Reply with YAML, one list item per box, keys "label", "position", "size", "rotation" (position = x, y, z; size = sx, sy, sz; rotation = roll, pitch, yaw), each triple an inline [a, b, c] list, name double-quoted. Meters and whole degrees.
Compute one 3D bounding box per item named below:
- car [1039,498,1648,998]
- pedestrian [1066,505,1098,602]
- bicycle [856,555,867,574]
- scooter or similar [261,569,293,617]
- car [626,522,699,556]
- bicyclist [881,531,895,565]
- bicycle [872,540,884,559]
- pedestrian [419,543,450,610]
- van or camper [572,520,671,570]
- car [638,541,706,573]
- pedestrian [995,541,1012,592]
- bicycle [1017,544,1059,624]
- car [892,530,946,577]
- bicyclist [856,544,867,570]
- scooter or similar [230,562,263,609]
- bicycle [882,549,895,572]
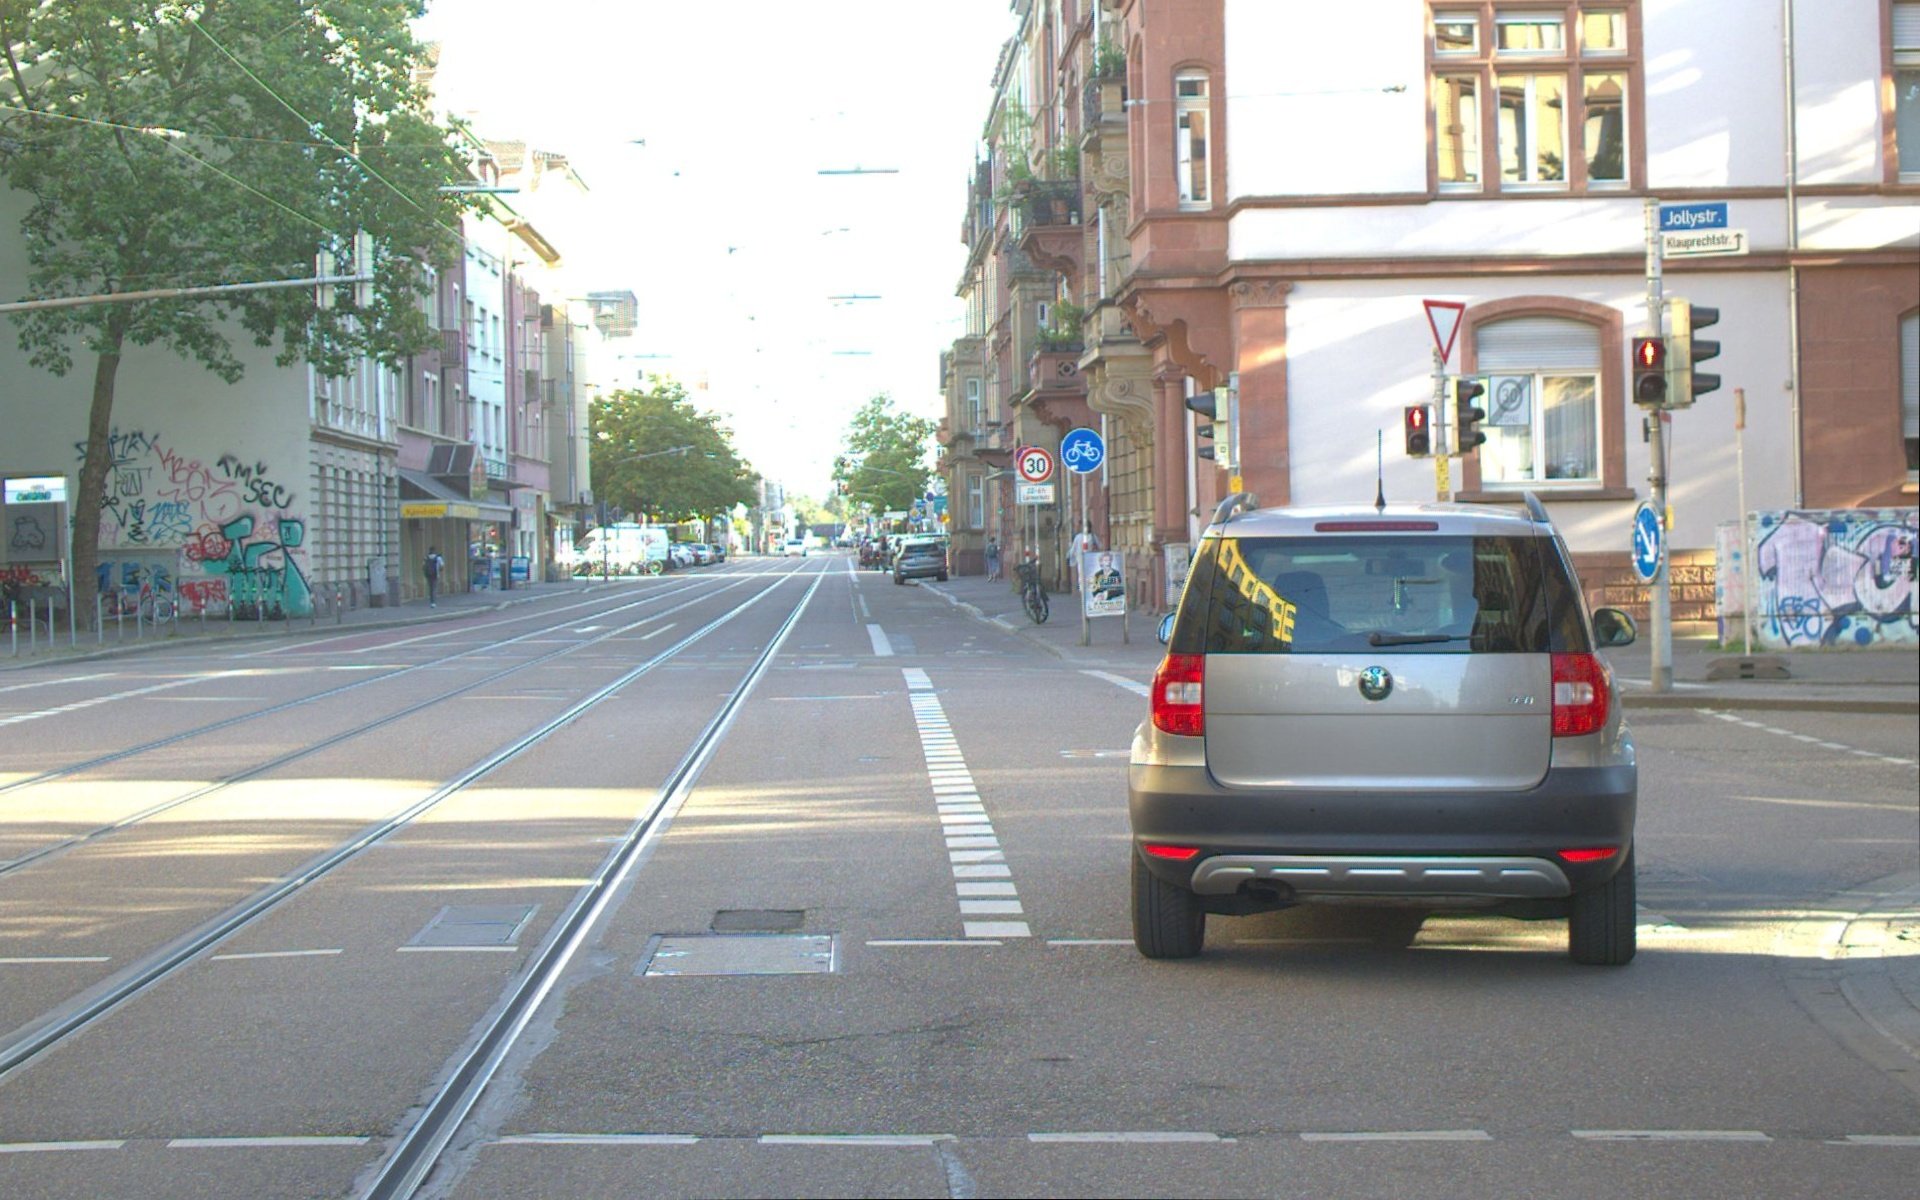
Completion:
- label: "car"
  position: [1.633, 0.447, 13.350]
  size: [1.994, 1.612, 3.998]
  rotation: [1, 1, 11]
- label: "pedestrian"
  position: [2.260, -0.855, 63.590]
  size: [0.544, 1.774, 0.504]
  rotation: [-1, 1, -1]
- label: "bicycle"
  position: [-5.429, -1.981, 189.294]
  size: [0.575, 1.026, 1.895]
  rotation: [-1, 1, -1]
- label: "scooter or similar"
  position: [-15.505, -0.157, 78.039]
  size: [0.516, 1.053, 1.478]
  rotation: [-1, 1, -4]
- label: "car"
  position: [-18.370, -3.785, 212.454]
  size: [3.986, 2.007, 2.000]
  rotation: [-1, 1, -26]
- label: "bicyclist"
  position: [-3.319, -2.387, 158.584]
  size: [0.575, 1.548, 0.595]
  rotation: [-1, 1, 0]
- label: "bicycle"
  position: [-4.387, -2.725, 184.469]
  size: [0.575, 1.026, 1.895]
  rotation: [-1, 1, -1]
- label: "pedestrian"
  position: [-13.723, -0.624, 89.840]
  size: [0.701, 1.722, 0.648]
  rotation: [-1, 1, -2]
- label: "van or camper"
  position: [-17.427, -2.827, 176.877]
  size: [4.635, 2.554, 2.000]
  rotation: [-1, 0, -32]
- label: "car"
  position: [-18.950, -2.838, 226.070]
  size: [3.986, 2.007, 2.000]
  rotation: [-1, 1, -26]
- label: "pedestrian"
  position: [1.545, -1.191, 121.434]
  size: [0.544, 1.774, 0.749]
  rotation: [-1, 1, -1]
- label: "bicycle"
  position: [1.303, -0.286, 57.856]
  size: [0.653, 1.319, 2.177]
  rotation: [-1, 1, 1]
- label: "car"
  position: [-1.520, -1.731, 127.164]
  size: [1.950, 1.678, 4.000]
  rotation: [-1, 1, -1]
- label: "bicyclist"
  position: [-5.443, -2.358, 189.512]
  size: [0.575, 1.447, 0.645]
  rotation: [-1, 1, 0]
- label: "scooter or similar"
  position: [-16.173, -0.335, 77.985]
  size: [0.516, 1.042, 1.478]
  rotation: [-1, 1, -4]
- label: "bicycle"
  position: [-3.308, -1.838, 158.597]
  size: [0.575, 1.026, 1.895]
  rotation: [-1, 1, -1]
